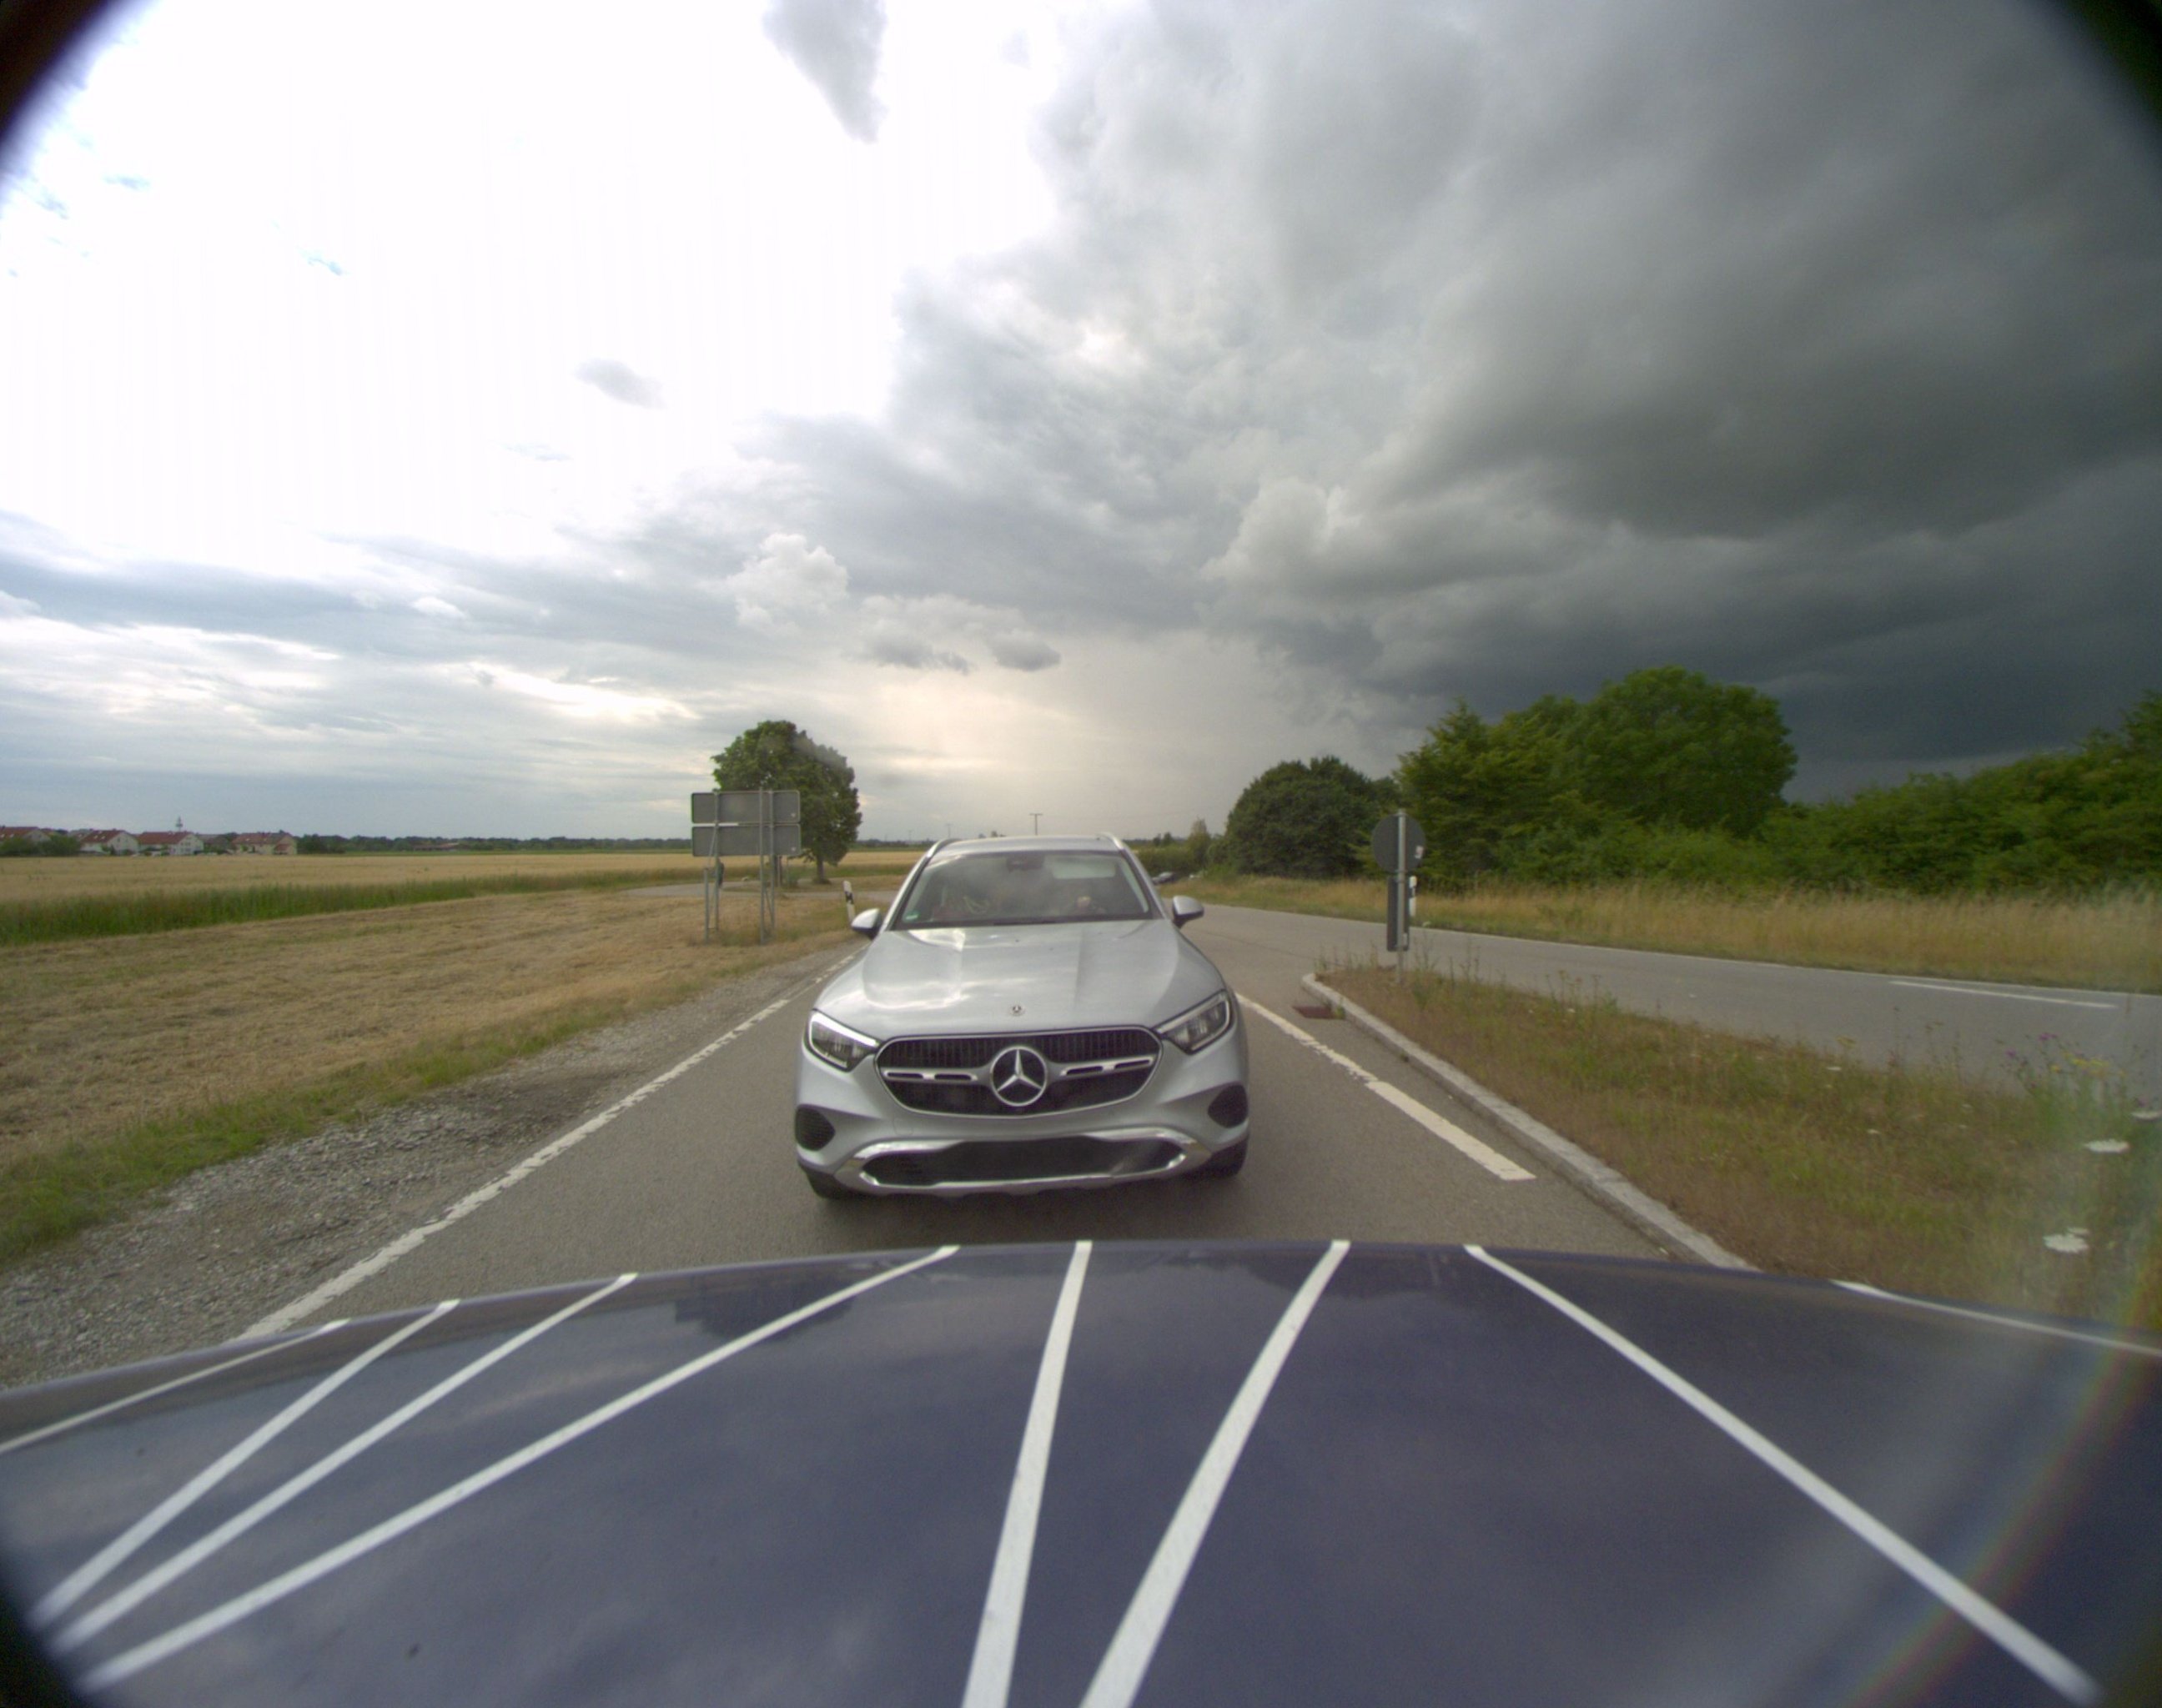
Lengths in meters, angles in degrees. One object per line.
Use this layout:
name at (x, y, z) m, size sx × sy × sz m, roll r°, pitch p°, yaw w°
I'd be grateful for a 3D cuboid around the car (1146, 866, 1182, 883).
car at (8.482, 2.092, 77.766) m, size 1.817 × 1.524 × 4.008 m, roll 1°, pitch 1°, yaw 38°

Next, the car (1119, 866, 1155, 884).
car at (5.445, 1.997, 73.628) m, size 1.817 × 1.524 × 4.008 m, roll 0°, pitch 1°, yaw 33°

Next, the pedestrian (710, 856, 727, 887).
pedestrian at (-19.422, 0.929, 40.746) m, size 0.774 × 1.602 × 0.943 m, roll -1°, pitch 1°, yaw -23°

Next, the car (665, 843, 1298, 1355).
car at (-0.372, 0.766, 4.688) m, size 1.996 × 1.577 × 4.392 m, roll -3°, pitch 1°, yaw -2°

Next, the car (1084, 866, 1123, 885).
car at (2.060, 1.845, 67.355) m, size 1.817 × 1.524 × 4.007 m, roll 0°, pitch 1°, yaw 29°

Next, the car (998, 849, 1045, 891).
car at (-2.432, 0.585, 31.270) m, size 1.721 × 1.486 × 4.635 m, roll -3°, pitch 1°, yaw -5°

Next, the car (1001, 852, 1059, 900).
car at (-1.726, 0.676, 25.477) m, size 1.721 × 1.345 × 4.211 m, roll -3°, pitch 1°, yaw -5°
